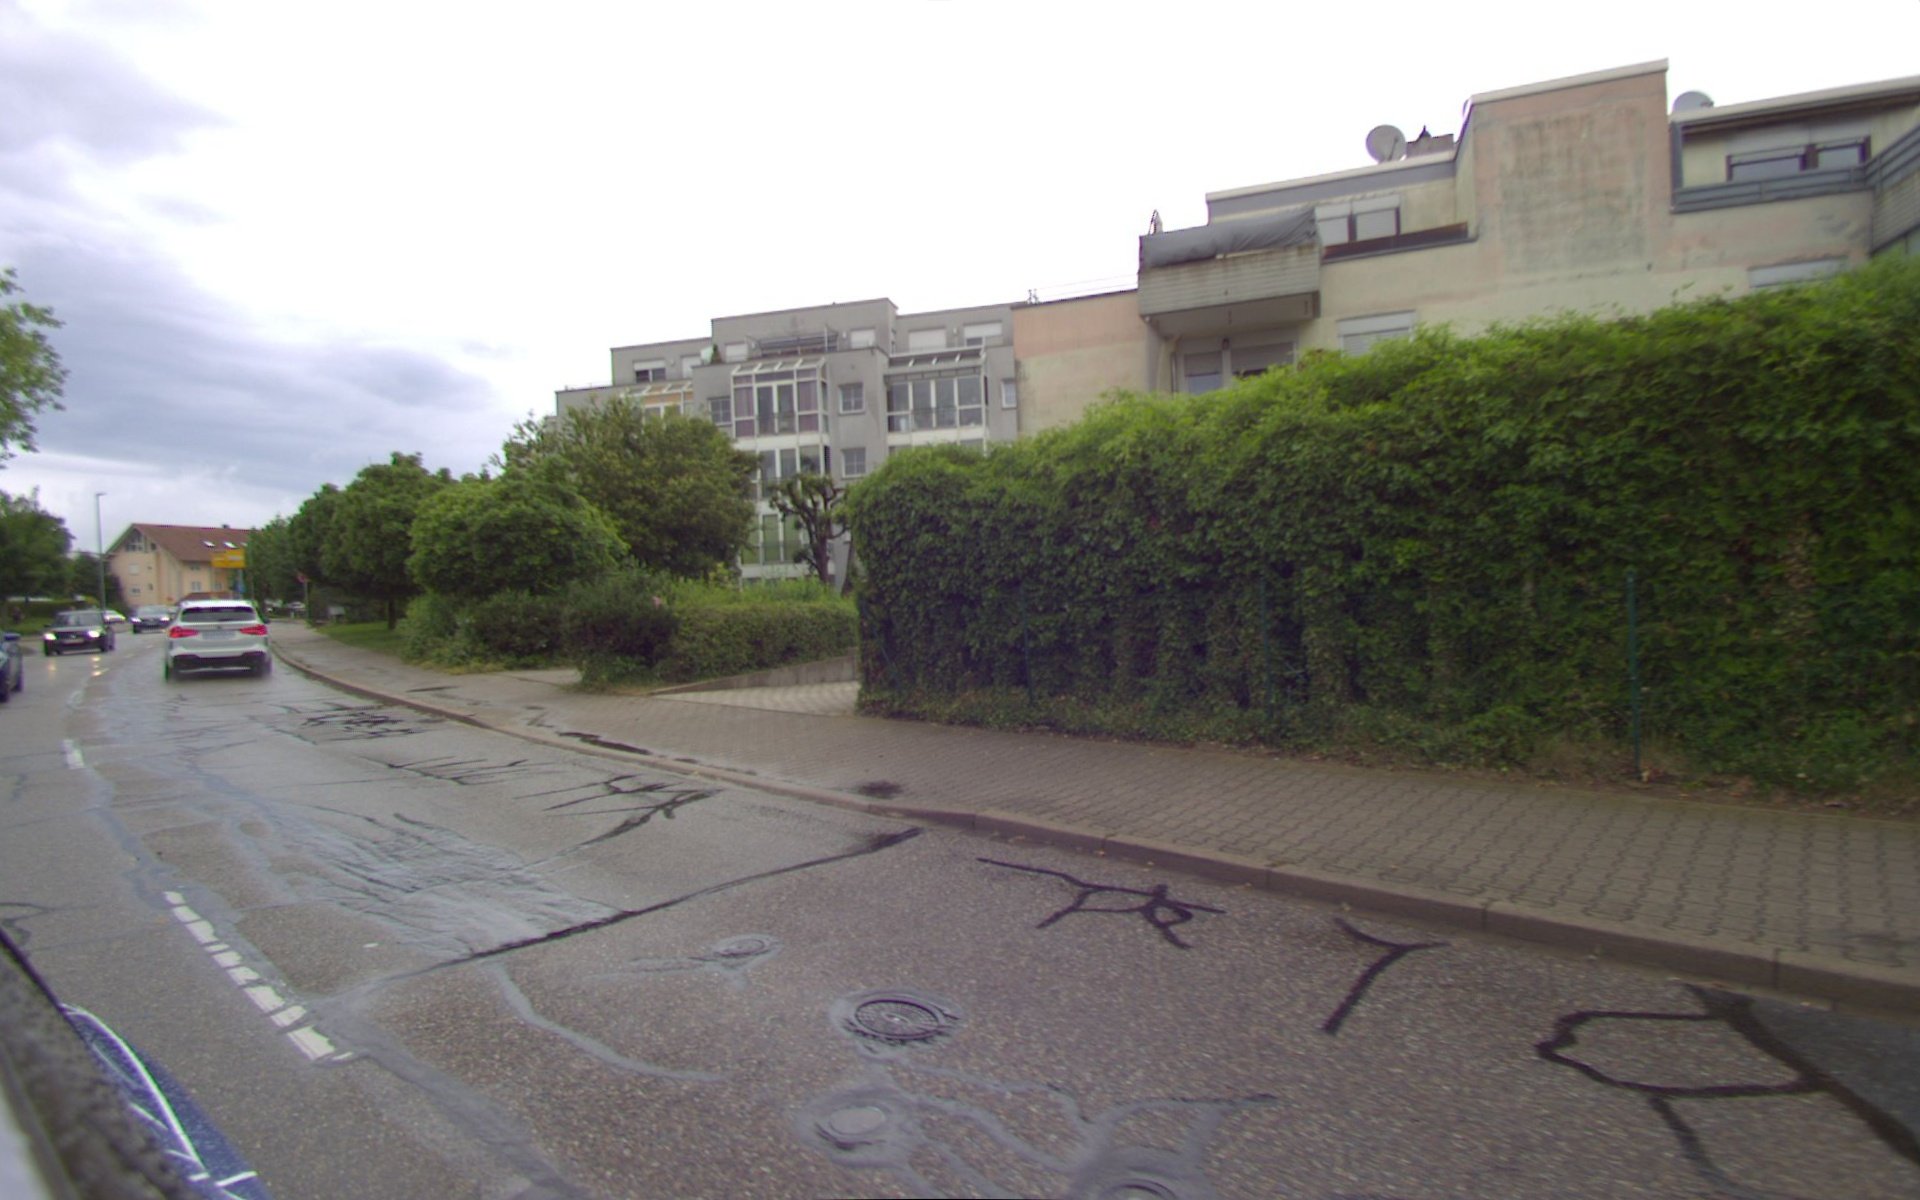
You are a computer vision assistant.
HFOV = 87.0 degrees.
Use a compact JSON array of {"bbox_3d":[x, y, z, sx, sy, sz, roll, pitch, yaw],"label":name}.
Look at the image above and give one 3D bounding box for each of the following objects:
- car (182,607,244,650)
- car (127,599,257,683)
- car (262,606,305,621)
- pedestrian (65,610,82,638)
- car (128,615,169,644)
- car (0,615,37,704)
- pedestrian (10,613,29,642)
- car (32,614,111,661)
[{"bbox_3d":[-28.142,1.033,38.098,1.718,1.425,4.150,-3,1,-38],"label":"car"},{"bbox_3d":[-17.707,0.863,23.248,1.868,1.623,4.871,-4,2,-42],"label":"car"},{"bbox_3d":[-75.203,1.494,112.553,3.961,1.613,1.730,-2,0,14],"label":"car"},{"bbox_3d":[-52.802,1.429,60.279,0.774,1.678,0.584,-1,1,38],"label":"pedestrian"},{"bbox_3d":[-49.048,1.760,61.197,1.813,1.561,4.008,-3,2,-38],"label":"car"},{"bbox_3d":[-17.464,1.007,17.352,1.883,1.444,4.311,-1,0,-35],"label":"car"},{"bbox_3d":[-58.044,1.689,62.465,0.668,1.786,0.609,-2,1,30],"label":"pedestrian"},{"bbox_3d":[-31.497,1.271,35.964,1.812,1.459,4.008,-3,2,-38],"label":"car"}]
